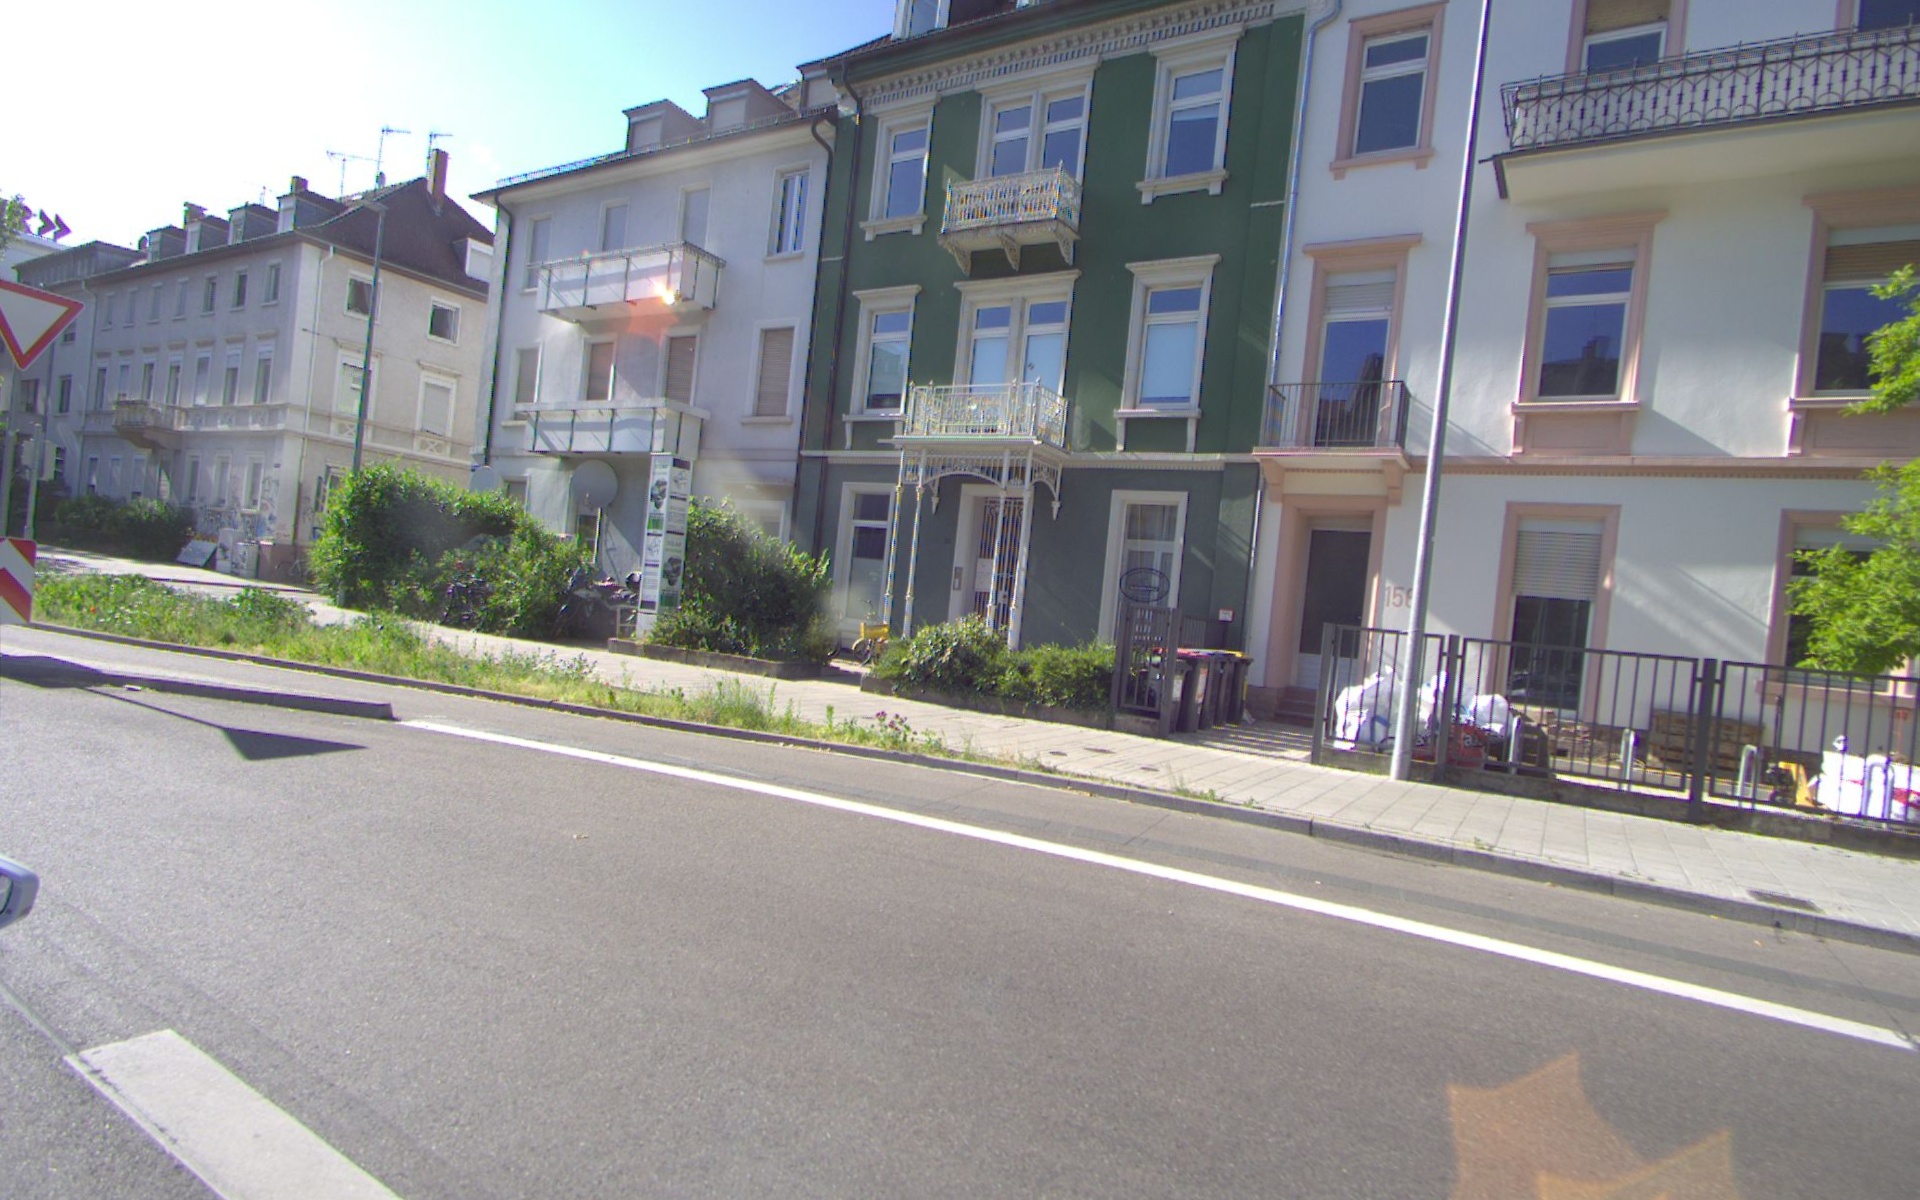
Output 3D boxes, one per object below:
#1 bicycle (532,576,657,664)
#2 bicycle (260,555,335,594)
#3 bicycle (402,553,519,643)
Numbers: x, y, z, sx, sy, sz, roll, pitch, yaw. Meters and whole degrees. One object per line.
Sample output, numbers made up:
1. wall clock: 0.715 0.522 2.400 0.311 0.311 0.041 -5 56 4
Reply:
1. bicycle: -7.027 0.428 19.484 0.628 1.502 2.258 6 -1 31
2. bicycle: -22.846 -0.876 34.722 0.570 1.093 1.998 6 -2 34
3. bicycle: -9.813 -0.053 19.732 2.450 1.460 0.709 7 -1 32
